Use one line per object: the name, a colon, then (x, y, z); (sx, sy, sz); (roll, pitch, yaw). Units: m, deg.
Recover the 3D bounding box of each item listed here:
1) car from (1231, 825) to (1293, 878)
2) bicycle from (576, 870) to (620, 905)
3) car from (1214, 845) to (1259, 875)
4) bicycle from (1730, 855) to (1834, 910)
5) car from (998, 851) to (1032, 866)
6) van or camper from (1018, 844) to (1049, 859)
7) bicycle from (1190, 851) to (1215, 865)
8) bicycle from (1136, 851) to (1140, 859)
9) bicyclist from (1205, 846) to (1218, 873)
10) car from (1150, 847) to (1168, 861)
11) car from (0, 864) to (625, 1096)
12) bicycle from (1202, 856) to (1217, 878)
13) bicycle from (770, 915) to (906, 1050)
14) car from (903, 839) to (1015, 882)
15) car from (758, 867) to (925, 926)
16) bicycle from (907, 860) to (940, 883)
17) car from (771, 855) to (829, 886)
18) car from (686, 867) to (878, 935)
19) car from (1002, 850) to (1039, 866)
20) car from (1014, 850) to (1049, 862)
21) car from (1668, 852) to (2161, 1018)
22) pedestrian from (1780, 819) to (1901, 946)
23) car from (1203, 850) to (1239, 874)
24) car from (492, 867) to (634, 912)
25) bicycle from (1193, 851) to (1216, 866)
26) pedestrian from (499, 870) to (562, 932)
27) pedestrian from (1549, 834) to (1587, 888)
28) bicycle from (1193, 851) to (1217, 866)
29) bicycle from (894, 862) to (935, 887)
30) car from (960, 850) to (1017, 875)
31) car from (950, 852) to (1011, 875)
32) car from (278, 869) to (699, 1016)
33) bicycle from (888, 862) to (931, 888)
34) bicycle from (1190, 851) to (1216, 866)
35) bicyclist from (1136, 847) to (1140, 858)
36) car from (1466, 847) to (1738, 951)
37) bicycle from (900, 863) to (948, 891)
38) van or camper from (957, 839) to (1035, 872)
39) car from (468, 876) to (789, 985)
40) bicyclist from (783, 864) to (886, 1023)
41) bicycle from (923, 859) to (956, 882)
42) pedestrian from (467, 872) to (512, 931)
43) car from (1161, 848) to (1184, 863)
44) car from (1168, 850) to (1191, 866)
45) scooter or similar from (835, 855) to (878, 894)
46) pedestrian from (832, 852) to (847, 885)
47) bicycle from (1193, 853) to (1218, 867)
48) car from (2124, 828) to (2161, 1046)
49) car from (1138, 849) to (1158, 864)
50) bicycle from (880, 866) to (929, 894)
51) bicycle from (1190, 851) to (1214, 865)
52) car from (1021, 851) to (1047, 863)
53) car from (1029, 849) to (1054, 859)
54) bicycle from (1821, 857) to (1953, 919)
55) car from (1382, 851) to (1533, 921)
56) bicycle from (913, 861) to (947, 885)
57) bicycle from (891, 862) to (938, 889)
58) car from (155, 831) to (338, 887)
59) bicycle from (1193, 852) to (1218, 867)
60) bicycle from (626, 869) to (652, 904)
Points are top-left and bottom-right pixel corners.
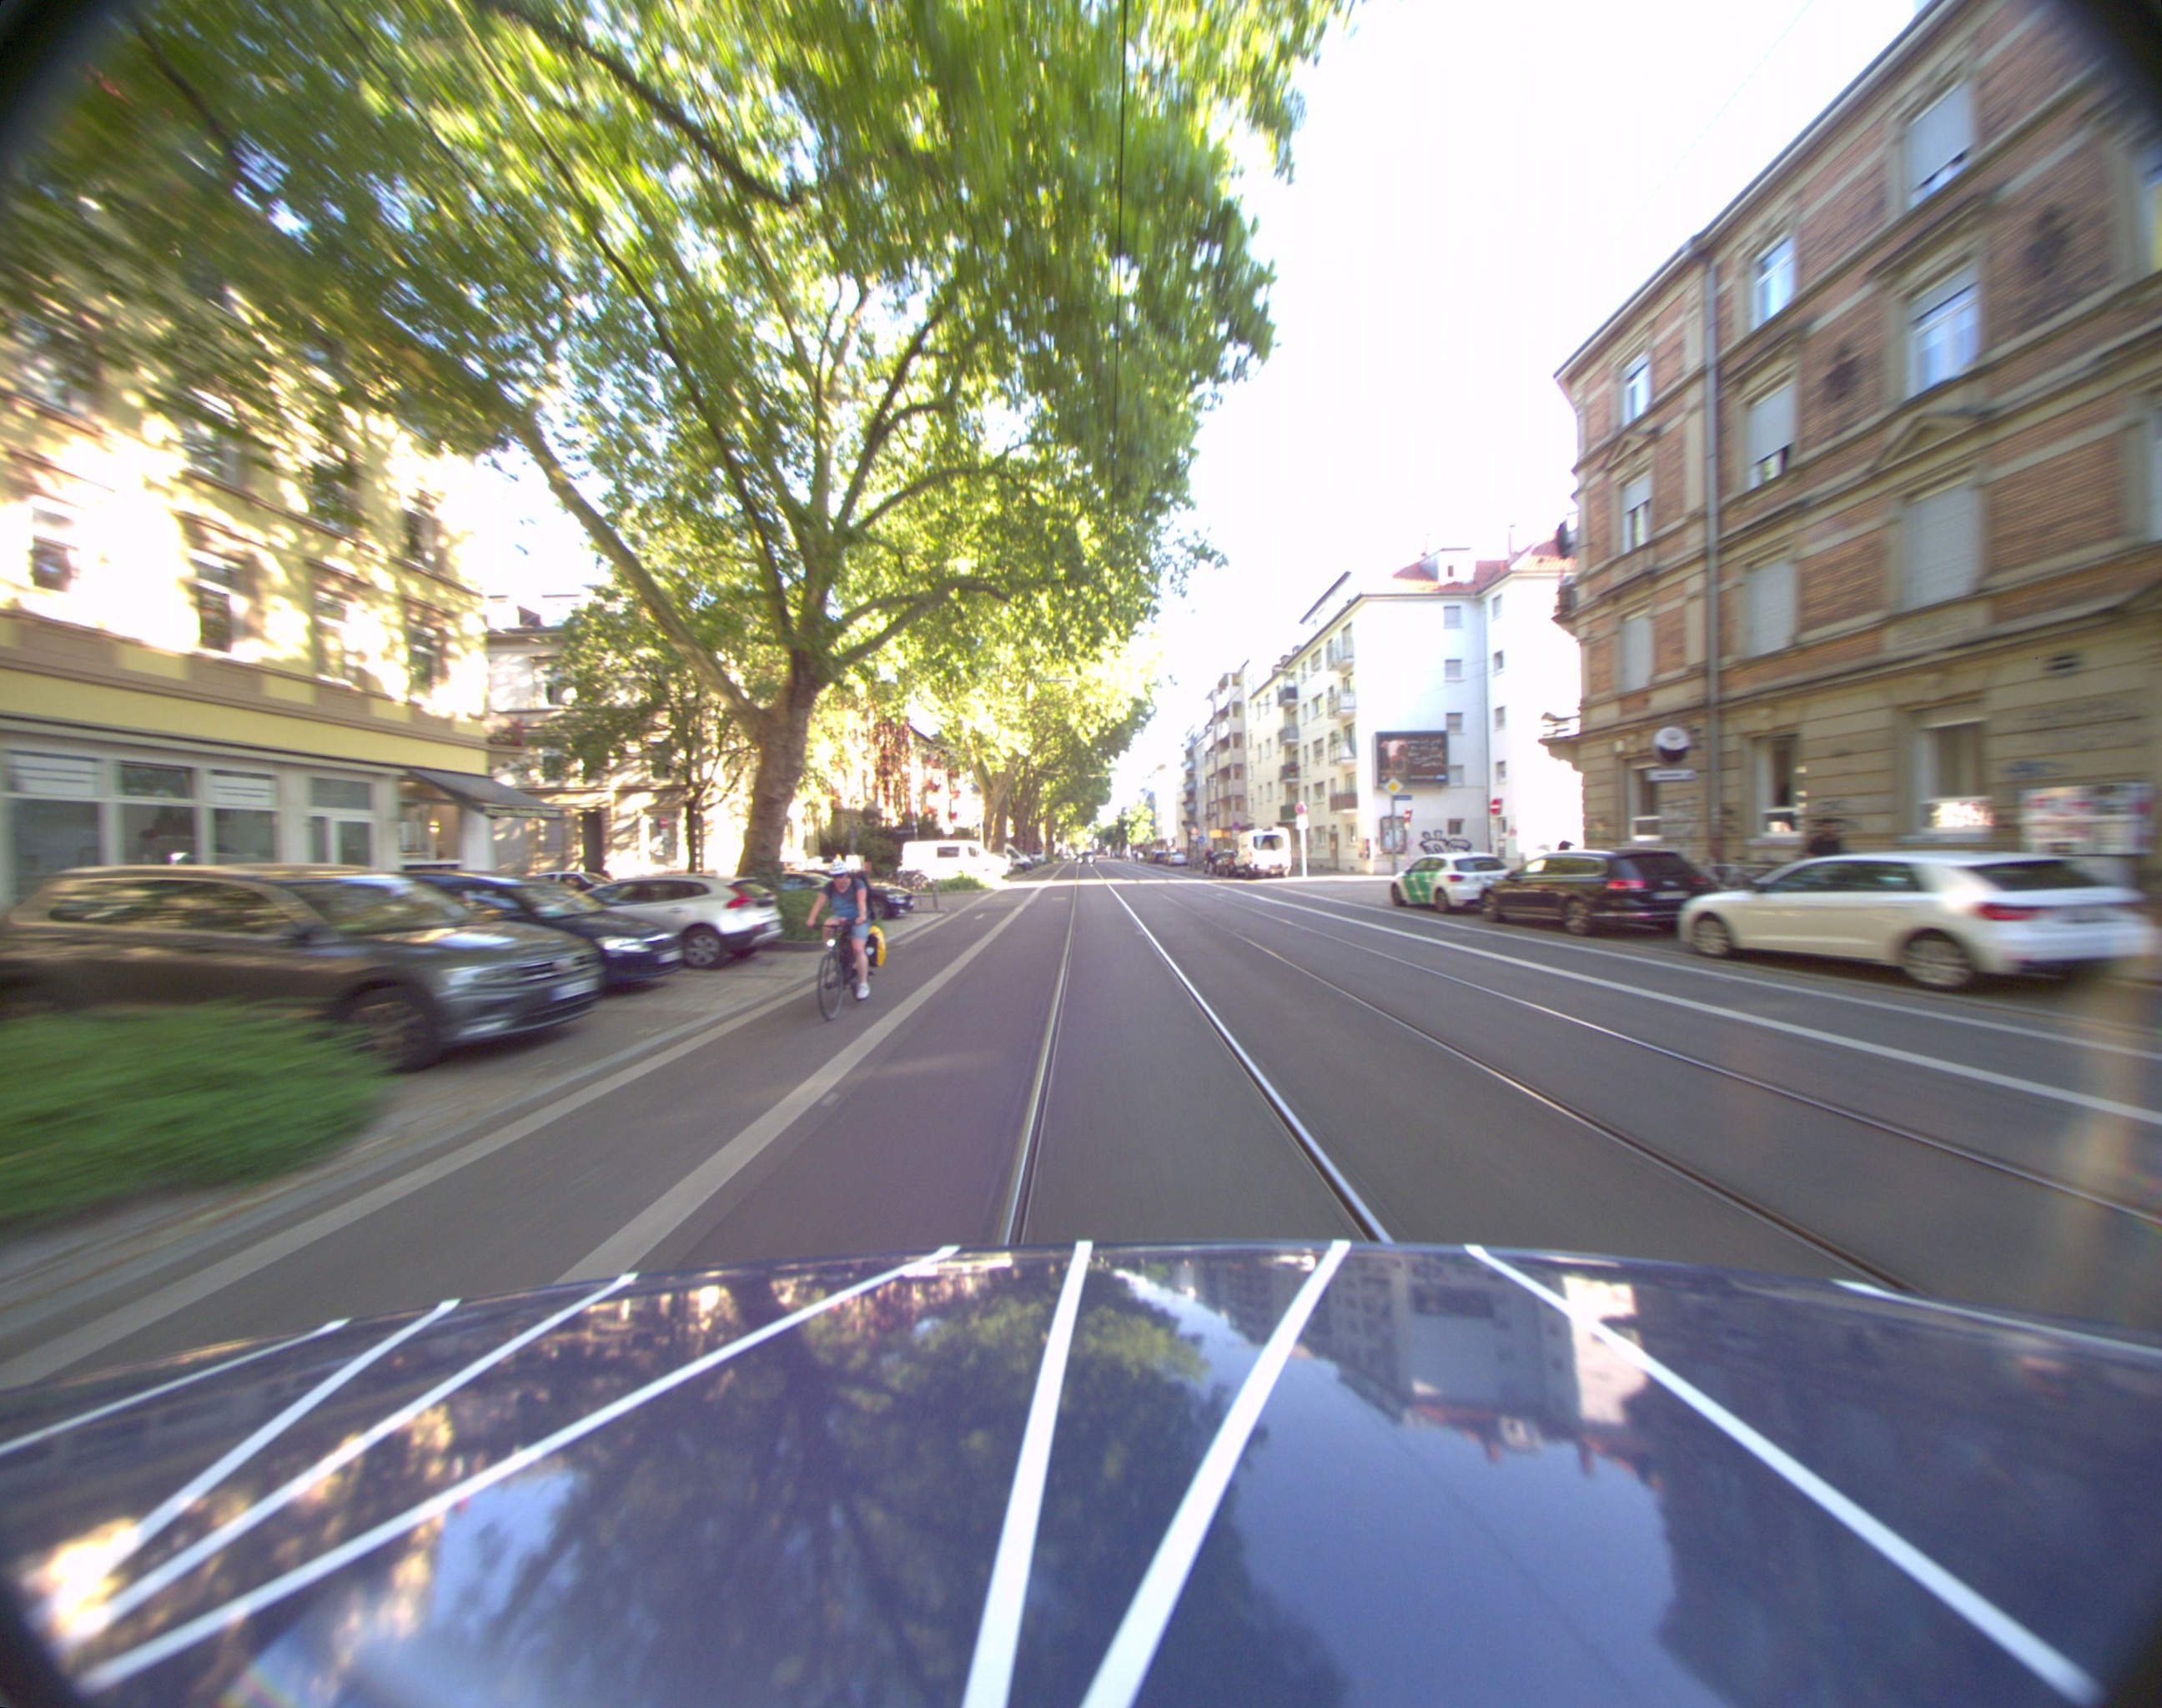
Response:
car: (9.420, -0.163, 40.045); (2.070, 2.521, 5.666); (-2, 1, 2)
bicycle: (-20.929, 1.434, 32.961); (0.523, 1.310, 2.006); (-3, 3, 0)
car: (9.243, 0.326, 45.419); (1.723, 1.622, 4.346); (-2, 1, -1)
bicycle: (14.449, 0.557, 15.720); (0.373, 1.028, 1.848); (-2, 1, -2)
car: (-7.224, 0.489, 83.916); (3.618, 1.486, 1.660); (-2, 1, -1)
van or camper: (-6.798, -0.331, 108.685); (4.388, 2.098, 1.837); (-1, 1, -3)
bicycle: (9.989, 0.327, 62.462); (1.965, 1.113, 0.440); (-3, 1, 7)
bicycle: (7.456, 0.158, 100.020); (0.418, 1.012, 1.946); (0, 1, 0)
bicyclist: (7.190, 0.282, 41.943); (0.584, 1.473, 0.807); (-1, 1, 0)
car: (9.360, 0.011, 91.264); (1.660, 1.591, 4.201); (-3, 1, -1)
car: (-6.754, 0.989, 6.736); (4.273, 1.709, 1.848); (1, 1, -2)
bicycle: (7.112, 0.699, 42.101); (0.422, 1.144, 2.231); (-1, 1, -1)
bicycle: (-2.557, 1.300, 8.350); (0.596, 0.998, 2.511); (-4, 1, 0)
car: (-6.887, 0.372, 43.293); (6.006, 2.269, 2.006); (-1, 0, 2)
car: (-6.750, 1.178, 21.621); (4.103, 1.483, 1.832); (-1, 1, 9)
bicycle: (-8.230, 0.923, 39.773); (2.043, 1.172, 0.414); (-1, 2, 38)
car: (-14.219, 0.792, 38.618); (1.737, 1.447, 3.569); (0, 1, -3)
car: (-7.391, 1.150, 19.008); (4.104, 1.483, 1.682); (-1, 1, 6)
car: (-6.899, 0.468, 86.334); (4.004, 1.735, 1.805); (-2, 0, 0)
car: (-6.328, 0.216, 97.414); (4.206, 1.473, 1.911); (-1, 1, 1)
car: (9.413, 0.731, 8.960); (1.704, 1.412, 3.998); (-3, 1, -4)
pedestrian: (11.437, 0.408, 11.480); (0.686, 1.790, 1.056); (-3, 1, -9)
car: (9.318, 0.494, 50.909); (1.722, 1.448, 4.572); (-2, 1, 2)
car: (-17.913, 1.220, 26.406); (3.687, 1.403, 1.691); (-2, -1, -3)
bicycle: (9.948, 0.342, 61.289); (1.822, 1.113, 0.425); (-3, 1, 7)
pedestrian: (-12.888, 1.079, 17.803); (0.485, 1.367, 1.058); (-1, 1, 31)
pedestrian: (16.086, 0.238, 25.112); (0.658, 1.738, 0.894); (-3, -1, 4)
bicycle: (9.888, 0.352, 60.685); (1.792, 1.113, 0.425); (-3, 1, 7)
bicycle: (-8.161, 0.992, 37.223); (2.044, 1.172, 0.414); (-1, 2, 21)
car: (-6.691, 0.608, 55.233); (3.965, 1.646, 1.795); (-1, 1, -3)
car: (-6.924, 0.646, 52.630); (3.965, 1.470, 1.796); (-1, 1, 0)
car: (-7.387, 1.055, 9.798); (4.038, 1.634, 1.681); (-1, 1, -2)
bicycle: (-8.084, 0.992, 35.850); (2.044, 1.172, 0.414); (-1, 2, 21)
bicycle: (9.954, 0.334, 61.976); (1.972, 1.113, 0.425); (-3, 1, 7)
bicyclist: (7.463, -0.220, 100.073); (0.510, 1.386, 0.709); (0, 1, 0)
car: (9.397, 0.680, 14.315); (1.745, 1.553, 4.785); (-3, 1, -1)
bicycle: (-7.101, 1.046, 34.312); (2.046, 1.172, 0.413); (-2, 2, 9)
van or camper: (-6.828, 0.124, 61.775); (6.048, 2.476, 2.107); (-1, 1, 0)
car: (-6.993, 1.143, 12.112); (4.039, 1.471, 1.680); (-1, 1, -5)
bicyclist: (-2.617, 0.913, 8.166); (0.615, 1.543, 0.935); (-6, 1, 0)
bicycle: (-7.580, 0.897, 40.686); (2.043, 1.172, 0.414); (-1, 2, 38)
pedestrian: (-13.844, 1.102, 17.782); (0.485, 1.320, 0.688); (-1, 1, 37)
car: (9.627, 0.112, 80.294); (1.798, 1.482, 4.239); (-2, 1, -1)
car: (9.735, 0.363, 75.478); (1.694, 1.482, 4.728); (-1, 1, 1)
scooter or similar: (-7.401, 0.683, 25.072); (1.309, 1.248, 0.341); (-1, 1, 14)
pedestrian: (-12.051, 0.717, 37.919); (0.594, 1.642, 0.707); (-3, 2, -25)
bicycle: (9.815, 0.462, 60.005); (1.897, 1.032, 0.402); (-3, 1, 7)
car: (9.371, 0.640, 3.816); (1.791, 1.713, 4.718); (-3, 1, 0)
car: (8.443, 0.288, 96.129); (1.784, 1.728, 4.488); (-3, 1, -2)
bicycle: (-7.714, 1.132, 33.197); (2.046, 1.172, 0.413); (-2, 2, 9)
bicycle: (10.013, 0.319, 63.001); (1.935, 1.113, 0.440); (-3, 1, 7)
car: (-6.509, 0.416, 105.721); (3.572, 1.522, 1.677); (-2, 1, -2)
car: (-5.829, 0.023, 112.113); (3.570, 1.431, 1.726); (-1, 1, 3)
bicycle: (14.520, 0.576, 13.759); (0.373, 1.028, 1.848); (-2, 1, -2)
car: (9.431, 0.722, 19.436); (1.745, 1.483, 4.044); (-3, 1, -1)
bicycle: (-7.635, 0.933, 38.336); (2.043, 1.172, 0.414); (-1, 2, 38)
bicycle: (-7.627, 0.992, 34.874); (2.046, 1.172, 0.413); (-2, 2, 9)
car: (-26.999, 0.186, 24.667); (4.141, 1.648, 1.655); (-2, -1, 1)
bicycle: (9.758, 0.439, 59.437); (1.897, 1.032, 0.402); (-3, 1, 7)
bicycle: (-18.451, 1.342, 31.733); (0.508, 1.279, 1.904); (-3, 3, -18)
